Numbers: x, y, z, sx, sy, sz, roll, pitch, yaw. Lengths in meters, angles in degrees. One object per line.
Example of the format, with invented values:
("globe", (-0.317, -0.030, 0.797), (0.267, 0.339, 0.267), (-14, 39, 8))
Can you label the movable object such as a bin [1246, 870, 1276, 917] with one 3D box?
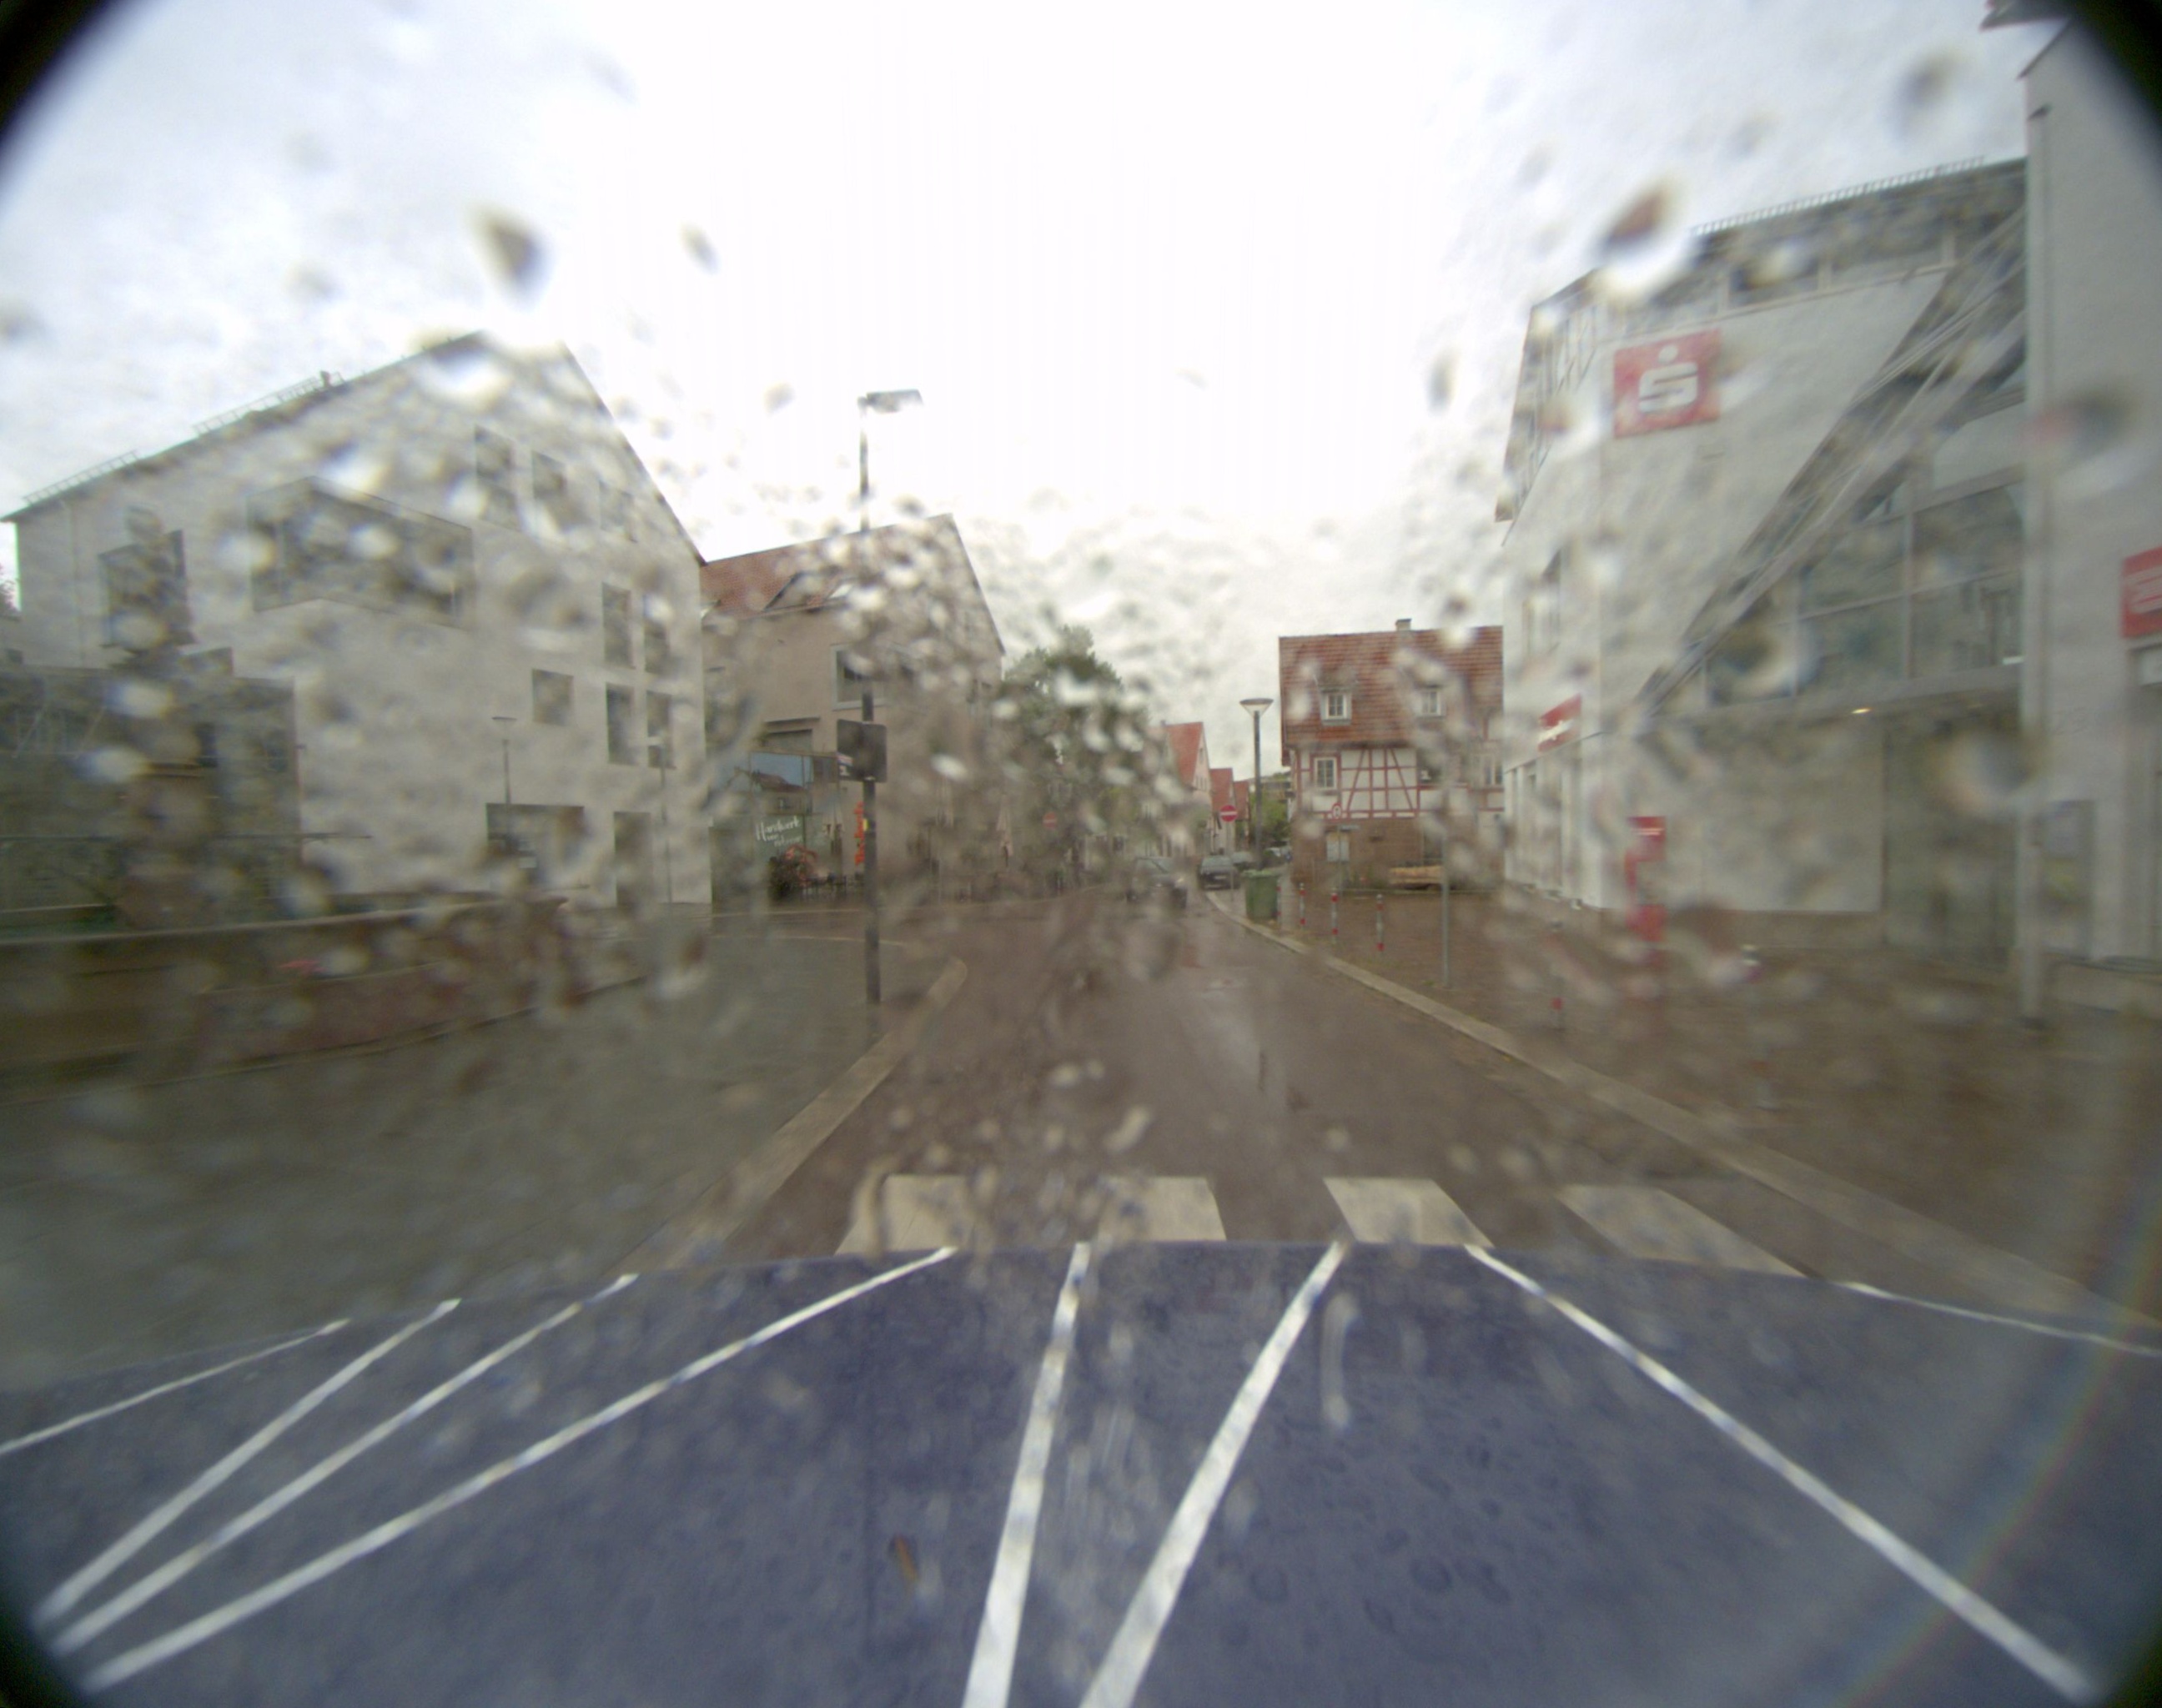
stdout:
("movable object such as a bin", (4.413, 0.970, 18.626), (0.659, 1.108, 0.553), (0, 1, 8))

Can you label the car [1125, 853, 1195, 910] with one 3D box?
("car", (2.476, 0.766, 22.904), (1.735, 1.546, 3.848), (0, 0, 11))

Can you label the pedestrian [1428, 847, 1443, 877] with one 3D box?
("pedestrian", (13.622, 0.297, 29.190), (0.411, 1.148, 0.425), (-1, 1, 11))

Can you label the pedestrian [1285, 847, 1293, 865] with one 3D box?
("pedestrian", (15.089, 0.140, 55.120), (0.454, 1.300, 0.518), (-2, 3, 18))

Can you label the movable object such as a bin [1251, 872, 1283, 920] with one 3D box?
("movable object such as a bin", (4.349, 0.977, 17.786), (0.660, 1.090, 0.613), (0, 1, 6))

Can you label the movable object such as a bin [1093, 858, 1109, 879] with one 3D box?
("movable object such as a bin", (1.083, 0.771, 40.590), (0.764, 1.068, 0.538), (0, 1, 12))

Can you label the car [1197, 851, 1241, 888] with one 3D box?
("car", (6.248, 0.662, 34.771), (1.693, 1.477, 4.001), (-3, 1, 7))

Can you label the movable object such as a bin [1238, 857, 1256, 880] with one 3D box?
("movable object such as a bin", (8.348, 0.714, 38.239), (0.834, 1.105, 0.919), (0, 1, 9))

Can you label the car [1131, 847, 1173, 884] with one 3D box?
("car", (3.607, 0.521, 38.542), (1.997, 1.740, 4.001), (0, 1, 6))

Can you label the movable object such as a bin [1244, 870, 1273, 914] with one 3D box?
("movable object such as a bin", (4.484, 0.959, 19.227), (0.659, 1.076, 0.553), (0, 1, 8))

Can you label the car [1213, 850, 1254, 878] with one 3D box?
("car", (9.541, 0.583, 47.333), (1.996, 1.520, 4.004), (-3, 0, 17))
